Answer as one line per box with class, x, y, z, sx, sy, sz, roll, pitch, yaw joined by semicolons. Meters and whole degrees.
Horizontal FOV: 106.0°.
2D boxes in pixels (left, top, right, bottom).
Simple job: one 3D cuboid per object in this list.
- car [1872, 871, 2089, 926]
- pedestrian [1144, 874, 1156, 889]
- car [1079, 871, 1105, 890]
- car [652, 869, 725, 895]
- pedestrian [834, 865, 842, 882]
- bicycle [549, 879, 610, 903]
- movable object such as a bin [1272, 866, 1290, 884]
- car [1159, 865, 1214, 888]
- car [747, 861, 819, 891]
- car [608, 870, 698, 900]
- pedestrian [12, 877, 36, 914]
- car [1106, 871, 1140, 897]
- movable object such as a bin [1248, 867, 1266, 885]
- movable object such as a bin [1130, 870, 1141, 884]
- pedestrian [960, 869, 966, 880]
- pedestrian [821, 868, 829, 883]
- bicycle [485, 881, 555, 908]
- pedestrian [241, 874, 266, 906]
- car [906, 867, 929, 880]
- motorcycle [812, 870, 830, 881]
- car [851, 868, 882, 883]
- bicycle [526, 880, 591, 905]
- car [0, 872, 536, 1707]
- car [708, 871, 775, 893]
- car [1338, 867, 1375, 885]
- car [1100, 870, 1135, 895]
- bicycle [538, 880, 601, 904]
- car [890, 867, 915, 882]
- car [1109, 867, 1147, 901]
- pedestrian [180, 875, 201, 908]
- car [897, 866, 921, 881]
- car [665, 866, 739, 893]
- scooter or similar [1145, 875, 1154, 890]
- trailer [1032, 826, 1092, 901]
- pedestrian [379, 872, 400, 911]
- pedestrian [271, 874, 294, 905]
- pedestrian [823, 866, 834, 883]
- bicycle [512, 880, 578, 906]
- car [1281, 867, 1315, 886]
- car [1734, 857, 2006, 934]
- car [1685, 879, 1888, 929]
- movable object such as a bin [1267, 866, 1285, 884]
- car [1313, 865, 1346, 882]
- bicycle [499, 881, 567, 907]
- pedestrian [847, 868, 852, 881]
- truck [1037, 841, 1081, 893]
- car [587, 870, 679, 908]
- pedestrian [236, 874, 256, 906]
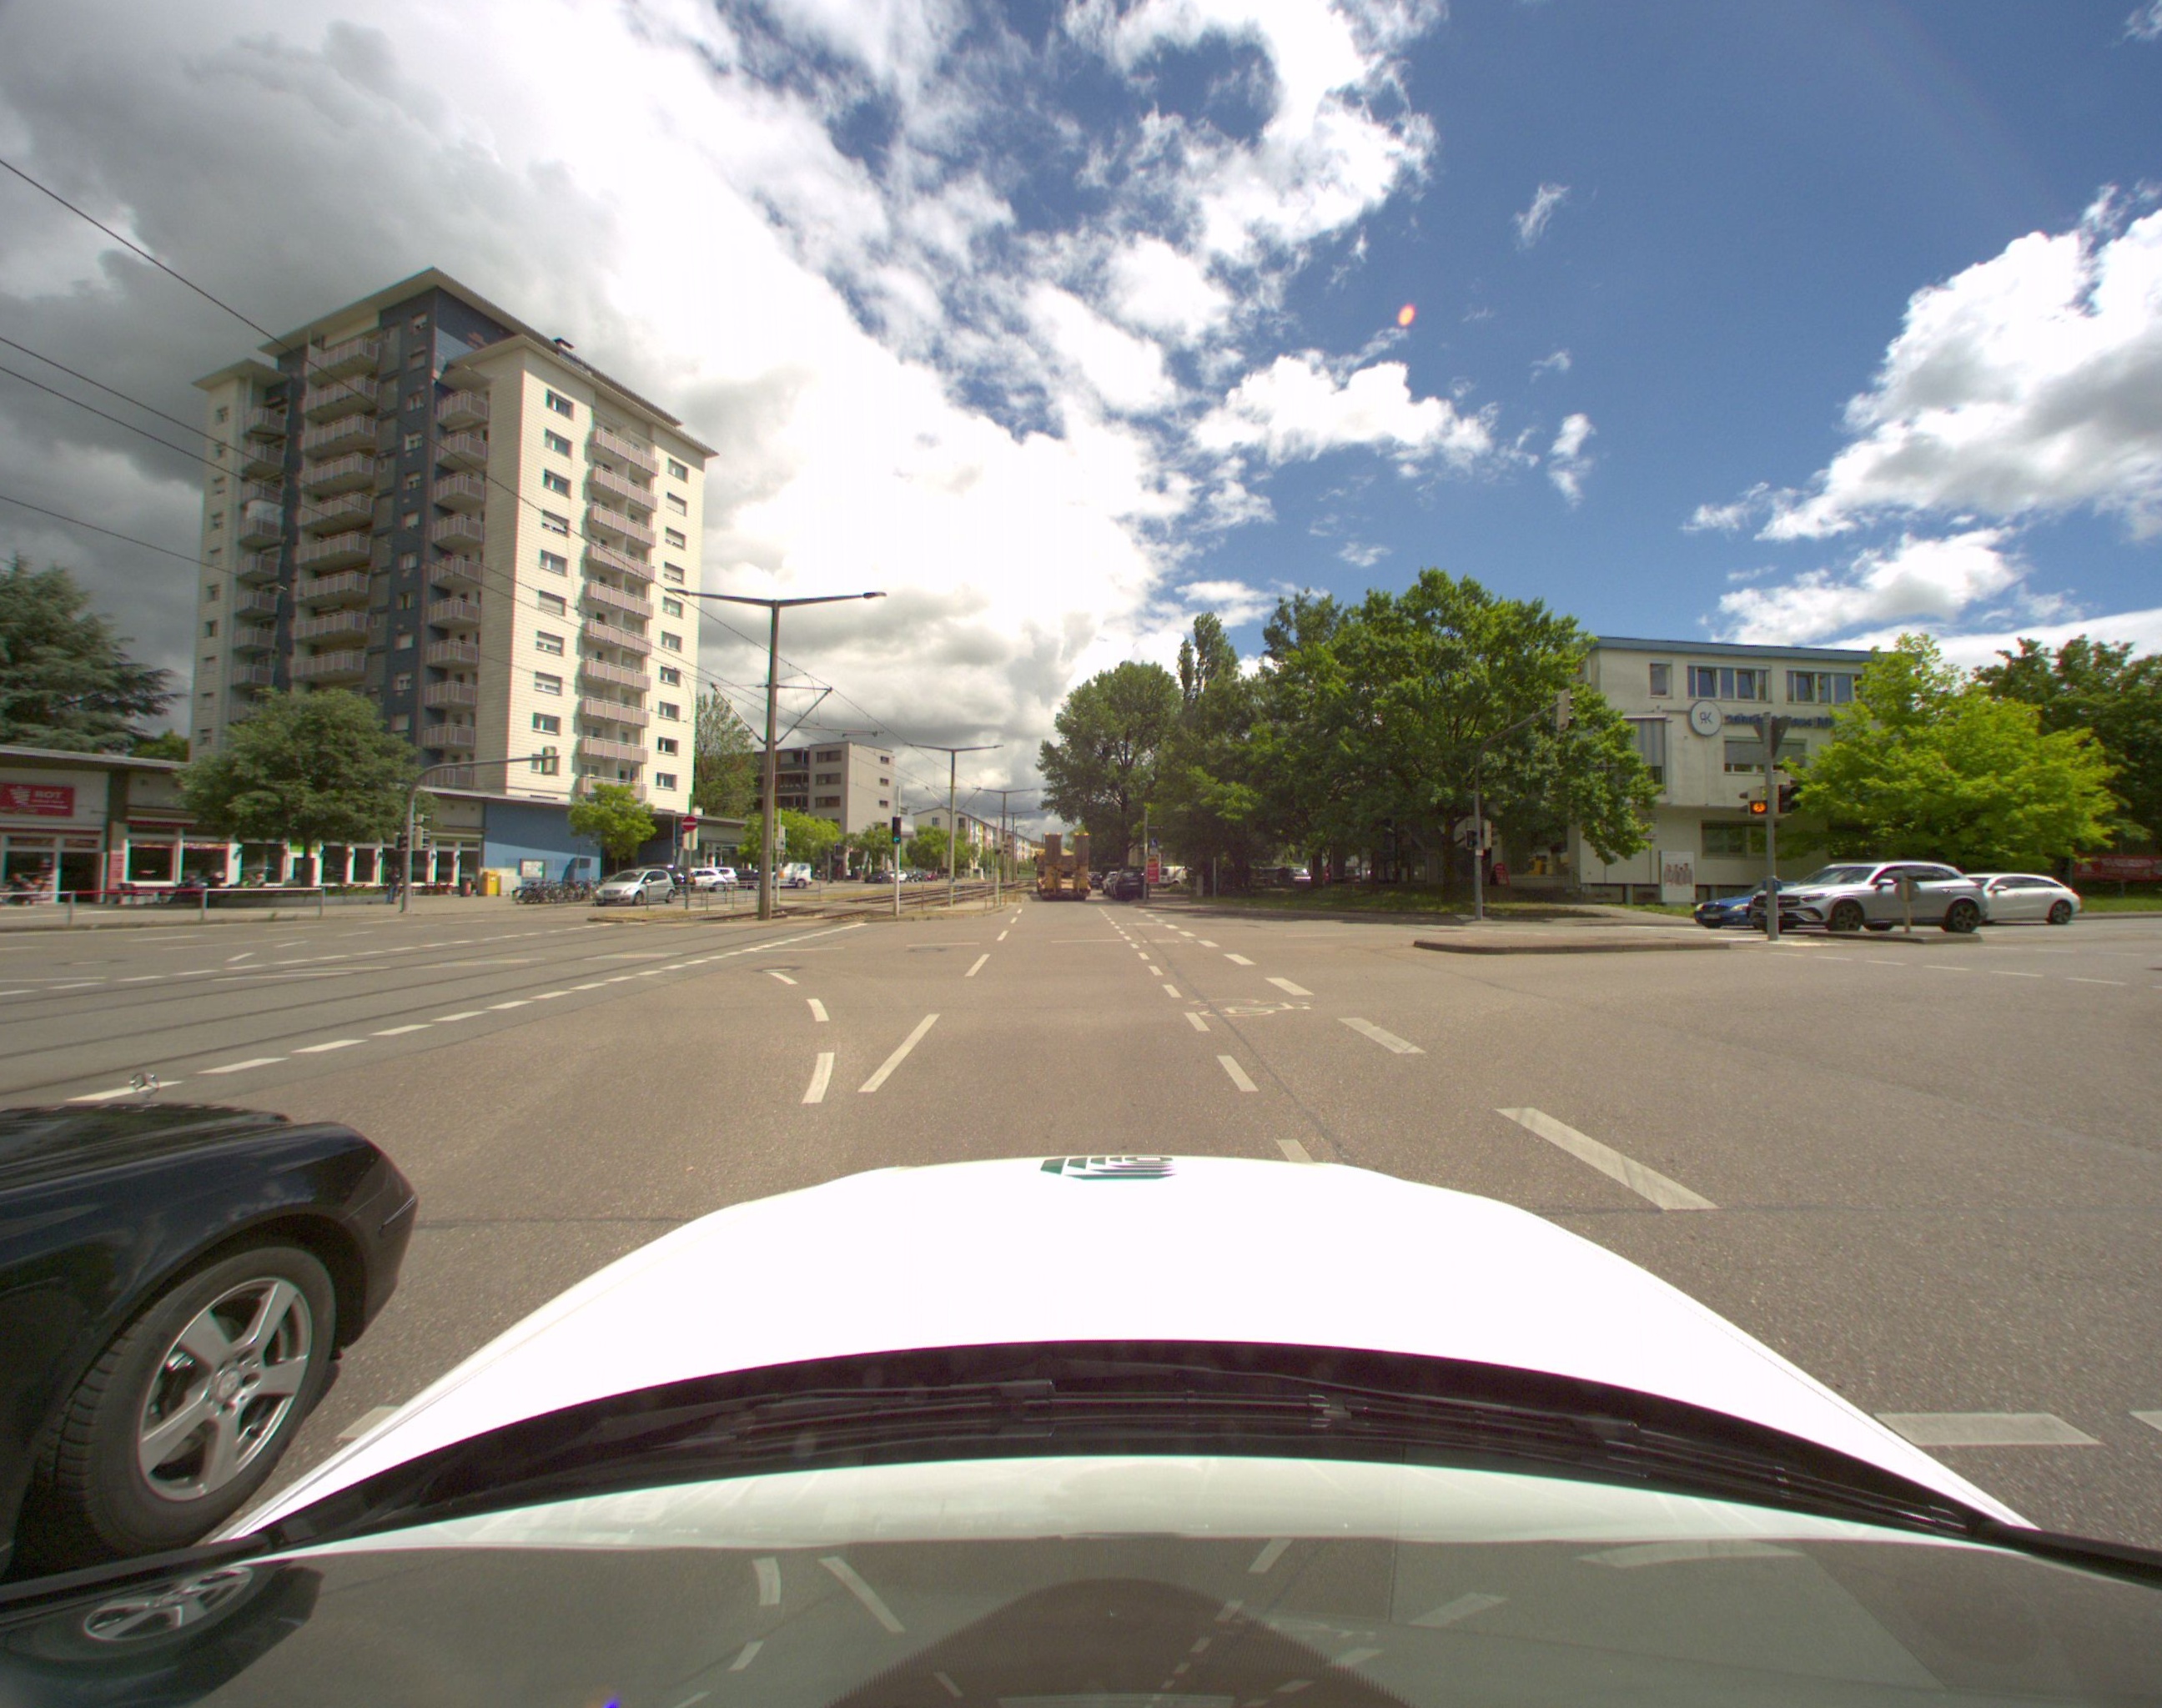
car;25.213;1.242;22.905;4.387;1.415;1.945;0;-3;-8
pedestrian;4.999;1.974;59.355;0.775;1.055;0.546;-1;-1;-7
car;0.876;2.166;67.785;1.811;1.449;3.821;-1;-1;-4
car;-24.351;1.704;50.547;3.786;1.496;1.727;0;-1;-40
pedestrian;-25.699;2.087;86.263;0.609;1.792;0.843;-1;-1;-1
bicycle;-23.386;1.732;38.006;2.419;1.066;0.705;-1;-1;0
movable object such as a bin;16.383;1.725;66.630;1.112;1.430;1.284;-1;-1;-3
car;8.529;1.787;65.852;4.005;1.823;1.796;0;-1;-24
car;-22.616;1.662;61.896;4.787;2.157;1.883;0;-1;-42
car;-23.960;1.704;45.675;1.908;1.591;4.024;-1;-1;43
pedestrian;-42.973;1.662;33.102;0.565;1.472;0.529;-1;-1;33
car;2.519;1.812;49.801;1.640;1.458;4.070;-1;-1;-4
movable object such as a bin;14.243;1.738;65.931;1.112;1.430;1.284;-1;-1;-3
movable object such as a bin;5.666;2.351;84.586;1.095;1.439;0.760;-1;-1;-3
pedestrian;-19.194;3.353;132.178;0.746;1.662;0.870;-1;-1;4
pedestrian;-26.541;2.202;84.544;0.667;1.574;0.682;0;-1;-28
bicycle;-23.423;1.685;34.028;2.419;1.066;0.705;-1;-1;0
pedestrian;-38.421;1.671;37.811;0.522;1.472;0.573;-1;-1;3
car;-20.872;2.468;104.112;1.985;1.648;4.102;-1;-1;3
motorcycle;-30.479;2.512;95.449;1.887;1.178;0.741;-1;-1;-3
car;-21.630;2.177;82.383;1.728;1.428;4.382;1;-1;2
bicycle;-23.402;1.714;36.496;2.419;1.066;0.705;-1;-1;0
car;-2.833;0.744;0.376;1.964;1.398;4.675;-1;-1;1
car;-23.896;1.953;57.395;4.021;1.383;1.883;0;-1;-42
car;23.284;1.856;68.969;1.738;1.470;3.998;0;-1;-1
car;2.391;1.861;54.545;1.781;1.565;4.561;-1;-1;-5
bicycle;-23.371;1.723;37.235;2.419;1.066;0.705;-1;-1;0
car;-20.106;2.281;91.930;1.988;1.663;4.096;1;-1;-2
car;2.554;1.608;45.306;1.640;1.762;4.564;-1;-1;-3
pedestrian;-40.337;1.682;36.881;0.565;1.472;0.529;-1;-1;33
car;-20.492;2.338;97.123;1.988;1.663;4.096;1;-1;-2
car;-24.762;1.657;53.260;1.882;1.632;4.024;-1;-1;44
scooter or similar;5.010;2.100;59.364;0.476;1.055;0.895;-1;-1;-7
trailer;-1.174;0.565;47.323;3.043;3.773;11.601;-1;-1;-2
pedestrian;-29.845;1.608;35.161;0.415;1.643;0.600;-1;-1;-2
pedestrian;-38.224;1.683;38.998;0.522;1.472;0.573;-1;-1;3
pedestrian;-25.034;2.015;80.687;0.836;1.650;0.614;1;-1;6
bicycle;-23.396;1.703;35.585;2.419;1.066;0.705;-1;-1;0
car;18.429;1.896;69.256;1.933;1.490;4.001;0;-1;2
car;17.957;0.938;18.658;4.636;1.592;1.919;-1;-3;-6
car;18.820;1.325;21.834;3.954;1.225;1.909;-1;-3;-6
movable object such as a bin;16.302;1.740;68.043;1.112;1.430;1.284;-1;-1;-3
car;21.182;1.654;69.631;1.737;1.443;4.001;0;-1;2
bicycle;-23.402;1.694;34.786;2.419;1.066;0.705;-1;-1;0
pedestrian;-26.507;2.382;93.328;0.500;1.460;0.555;0;-1;-28
truck;-1.584;0.918;56.631;2.827;3.330;7.977;-1;-1;-2
car;-19.617;1.508;35.845;1.810;1.533;3.758;-1;-1;4
pedestrian;-39.509;1.692;38.531;0.565;1.472;0.529;-1;-1;29
